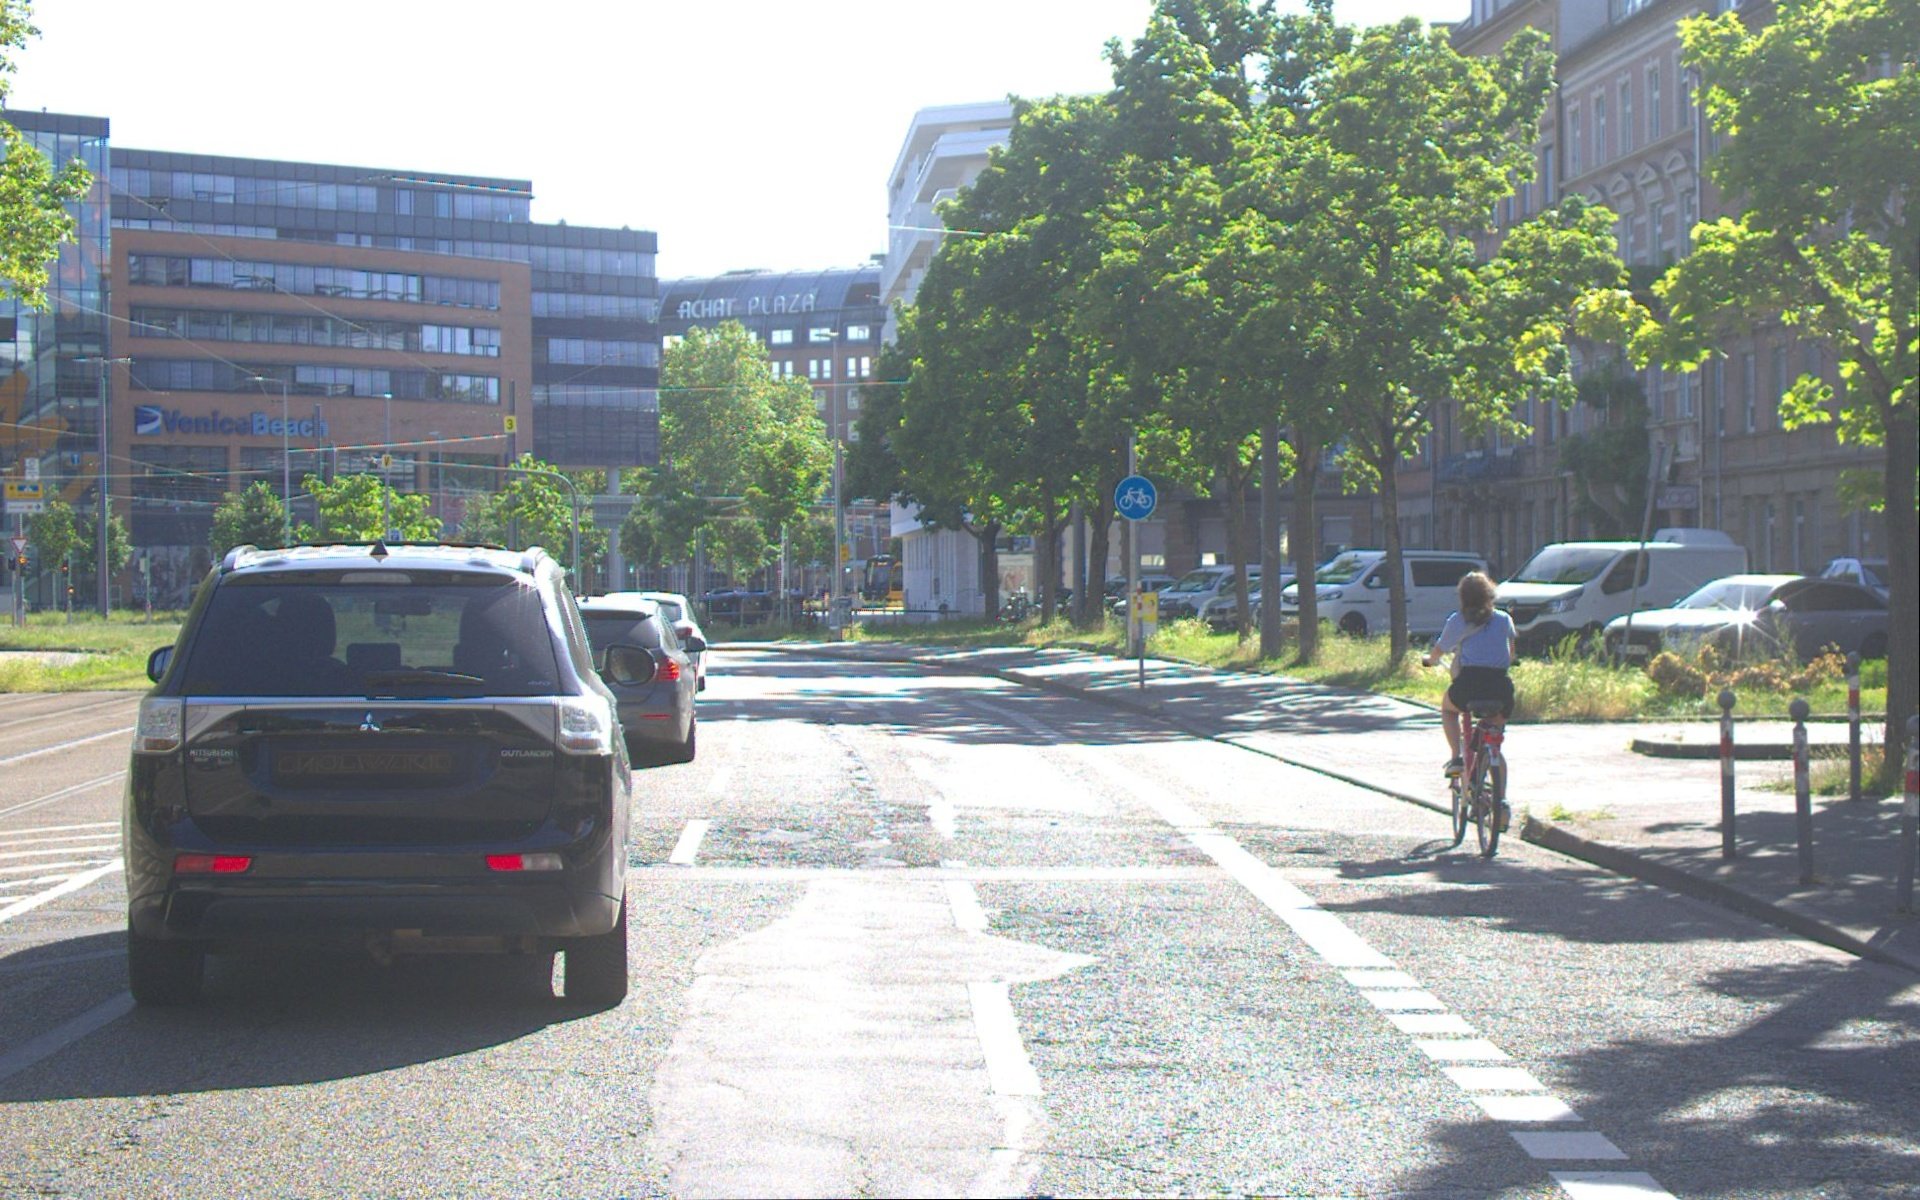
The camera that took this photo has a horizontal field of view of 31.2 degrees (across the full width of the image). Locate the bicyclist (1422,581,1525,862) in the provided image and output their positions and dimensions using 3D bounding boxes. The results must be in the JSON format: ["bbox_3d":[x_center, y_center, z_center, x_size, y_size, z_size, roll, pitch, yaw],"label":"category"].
[{"bbox_3d":[3.063,0.710,20.547,0.437,1.633,0.779,-1,1,-3],"label":"bicyclist"}]

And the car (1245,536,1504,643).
[{"bbox_3d":[8.675,-0.227,71.761,5.171,2.006,2.100,-3,0,-34],"label":"car"}]

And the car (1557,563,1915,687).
[{"bbox_3d":[10.524,0.314,46.457,4.866,1.430,2.020,-3,1,-37],"label":"car"}]

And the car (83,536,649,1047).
[{"bbox_3d":[-2.182,0.641,13.678,1.836,1.676,4.643,0,0,-6],"label":"car"}]

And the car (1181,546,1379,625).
[{"bbox_3d":[7.824,-0.352,83.882,4.499,1.722,2.000,-3,0,-34],"label":"car"}]

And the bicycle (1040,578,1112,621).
[{"bbox_3d":[3.359,-0.015,99.881,1.957,1.188,0.842,-2,0,-5],"label":"bicycle"}]

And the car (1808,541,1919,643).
[{"bbox_3d":[17.934,-0.189,65.542,1.993,1.793,4.627,-2,1,-5],"label":"car"}]

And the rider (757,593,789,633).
[{"bbox_3d":[-5.710,0.404,105.059,0.502,1.172,1.675,0,1,13],"label":"rider"}]

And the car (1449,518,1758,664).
[{"bbox_3d":[10.119,-0.165,53.904,4.866,2.068,2.020,-3,1,-39],"label":"car"}]

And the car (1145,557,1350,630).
[{"bbox_3d":[7.329,-0.170,87.460,4.865,1.642,2.100,-3,0,-34],"label":"car"}]

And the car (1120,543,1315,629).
[{"bbox_3d":[6.758,-0.376,90.032,4.866,2.006,2.100,-3,0,-38],"label":"car"}]

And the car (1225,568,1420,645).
[{"bbox_3d":[7.876,0.138,74.557,4.018,1.473,1.812,-3,0,-38],"label":"car"}]

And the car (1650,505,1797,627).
[{"bbox_3d":[16.996,-0.779,76.781,1.993,2.576,4.513,-2,1,-3],"label":"car"}]

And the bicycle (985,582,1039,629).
[{"bbox_3d":[1.503,0.158,99.399,0.769,1.285,1.594,-1,1,36],"label":"bicycle"}]

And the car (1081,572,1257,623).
[{"bbox_3d":[5.858,-0.087,96.217,4.738,1.375,2.045,-1,1,-38],"label":"car"}]

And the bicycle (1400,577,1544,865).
[{"bbox_3d":[3.059,0.689,20.675,0.437,1.633,1.939,-1,1,-4],"label":"bicycle"}]

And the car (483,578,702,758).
[{"bbox_3d":[-3.201,0.613,30.287,1.734,1.418,4.468,2,-2,-5],"label":"car"}]

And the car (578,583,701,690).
[{"bbox_3d":[-4.575,0.553,49.086,1.632,1.418,3.782,2,-2,-5],"label":"car"}]
